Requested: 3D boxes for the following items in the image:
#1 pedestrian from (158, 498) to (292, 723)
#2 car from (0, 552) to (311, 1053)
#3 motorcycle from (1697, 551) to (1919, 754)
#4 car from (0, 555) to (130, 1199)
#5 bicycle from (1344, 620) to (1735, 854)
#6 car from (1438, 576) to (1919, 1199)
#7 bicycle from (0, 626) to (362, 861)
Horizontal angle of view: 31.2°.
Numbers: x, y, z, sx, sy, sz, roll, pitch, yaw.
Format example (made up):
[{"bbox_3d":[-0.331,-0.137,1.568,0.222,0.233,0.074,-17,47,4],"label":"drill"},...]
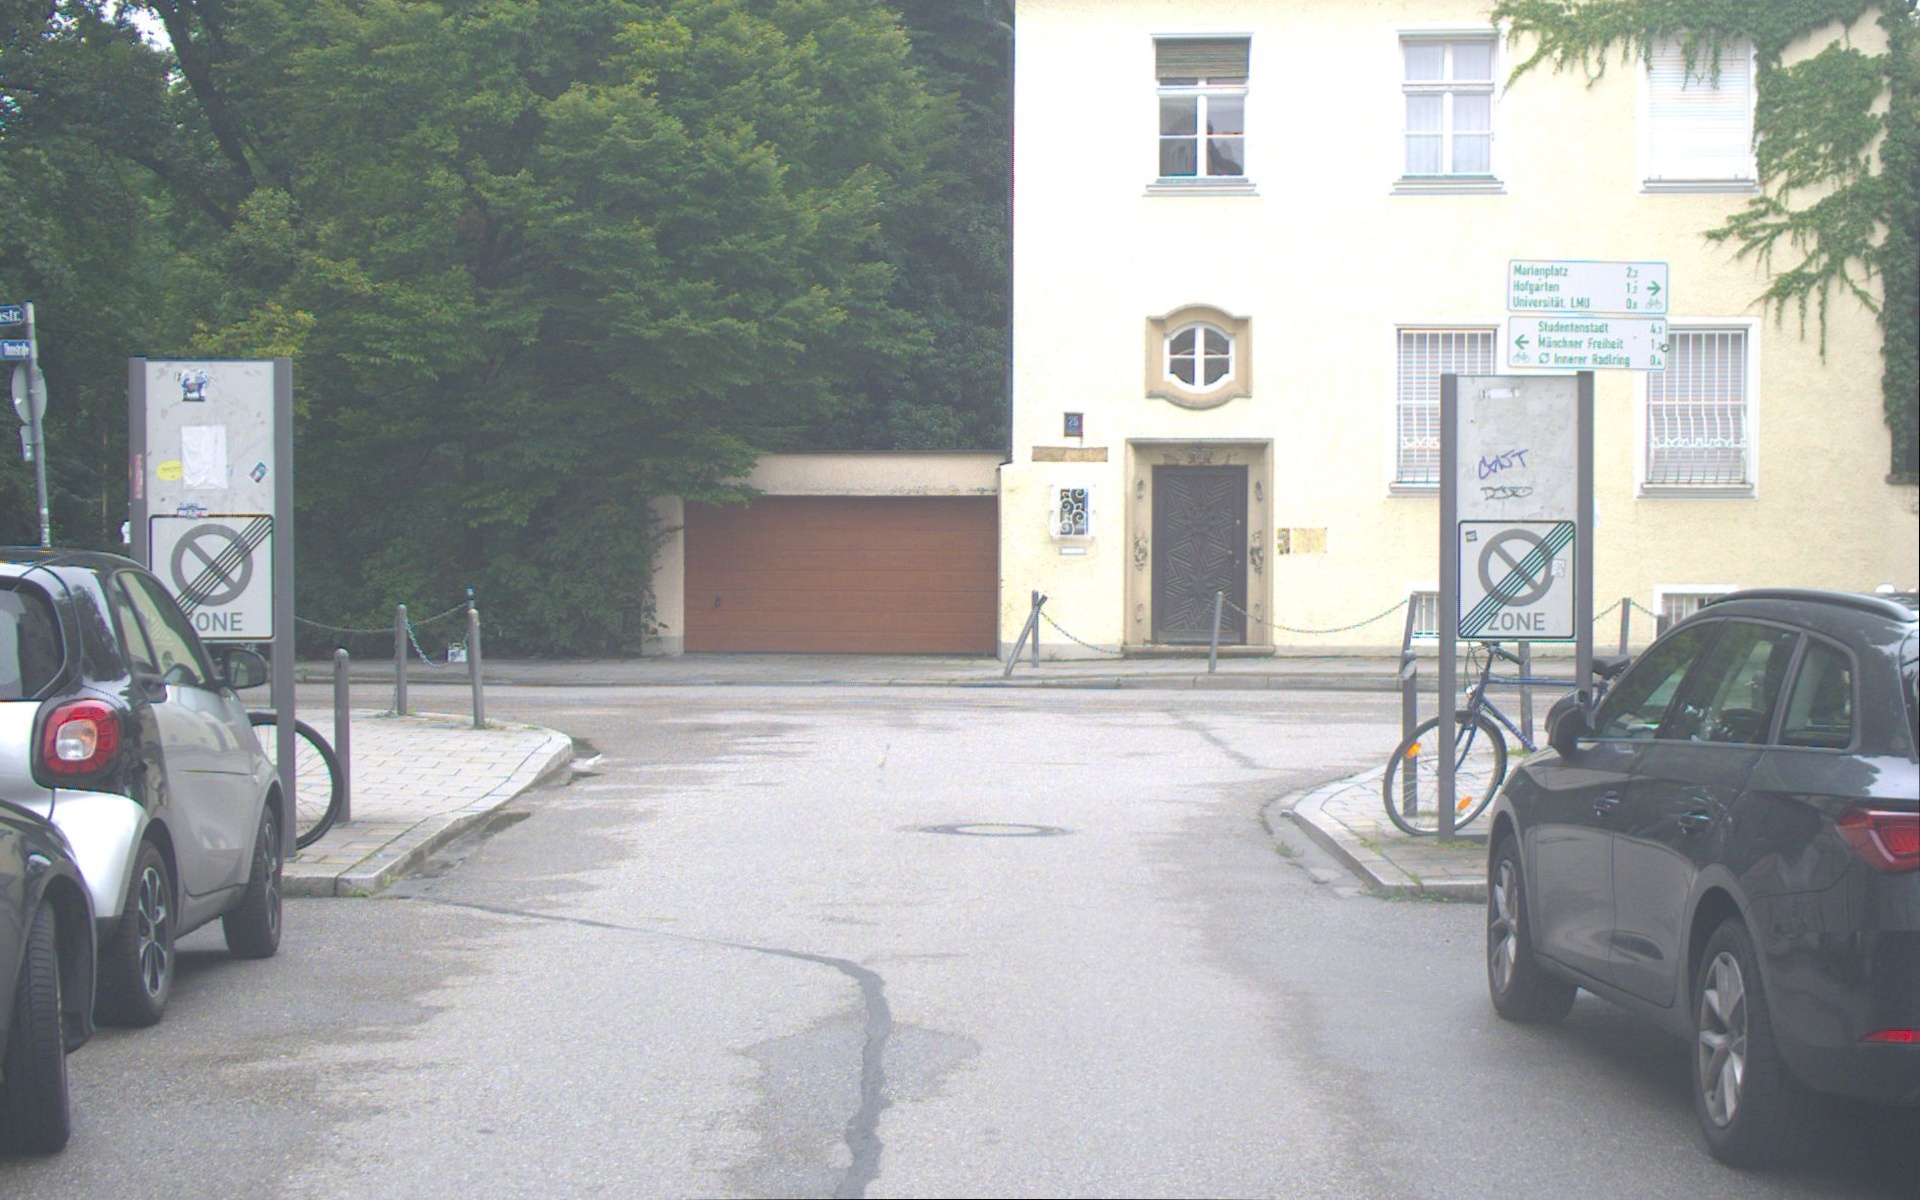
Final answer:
[{"bbox_3d":[-5.447,0.071,25.467,0.810,1.636,0.726,1,1,-25],"label":"pedestrian"},{"bbox_3d":[-3.382,0.595,11.920,1.704,1.510,2.911,0,1,0],"label":"car"},{"bbox_3d":[6.220,0.355,23.784,2.077,1.351,0.817,1,1,-24],"label":"motorcycle"},{"bbox_3d":[-3.153,0.673,6.885,1.755,1.510,4.707,0,1,1],"label":"car"},{"bbox_3d":[2.885,0.659,17.136,1.794,1.082,0.665,0,2,27],"label":"bicycle"},{"bbox_3d":[2.648,0.700,9.829,1.692,1.466,4.611,1,1,-3],"label":"car"},{"bbox_3d":[-3.732,0.657,15.951,1.802,1.011,0.540,2,1,-2],"label":"bicycle"}]
